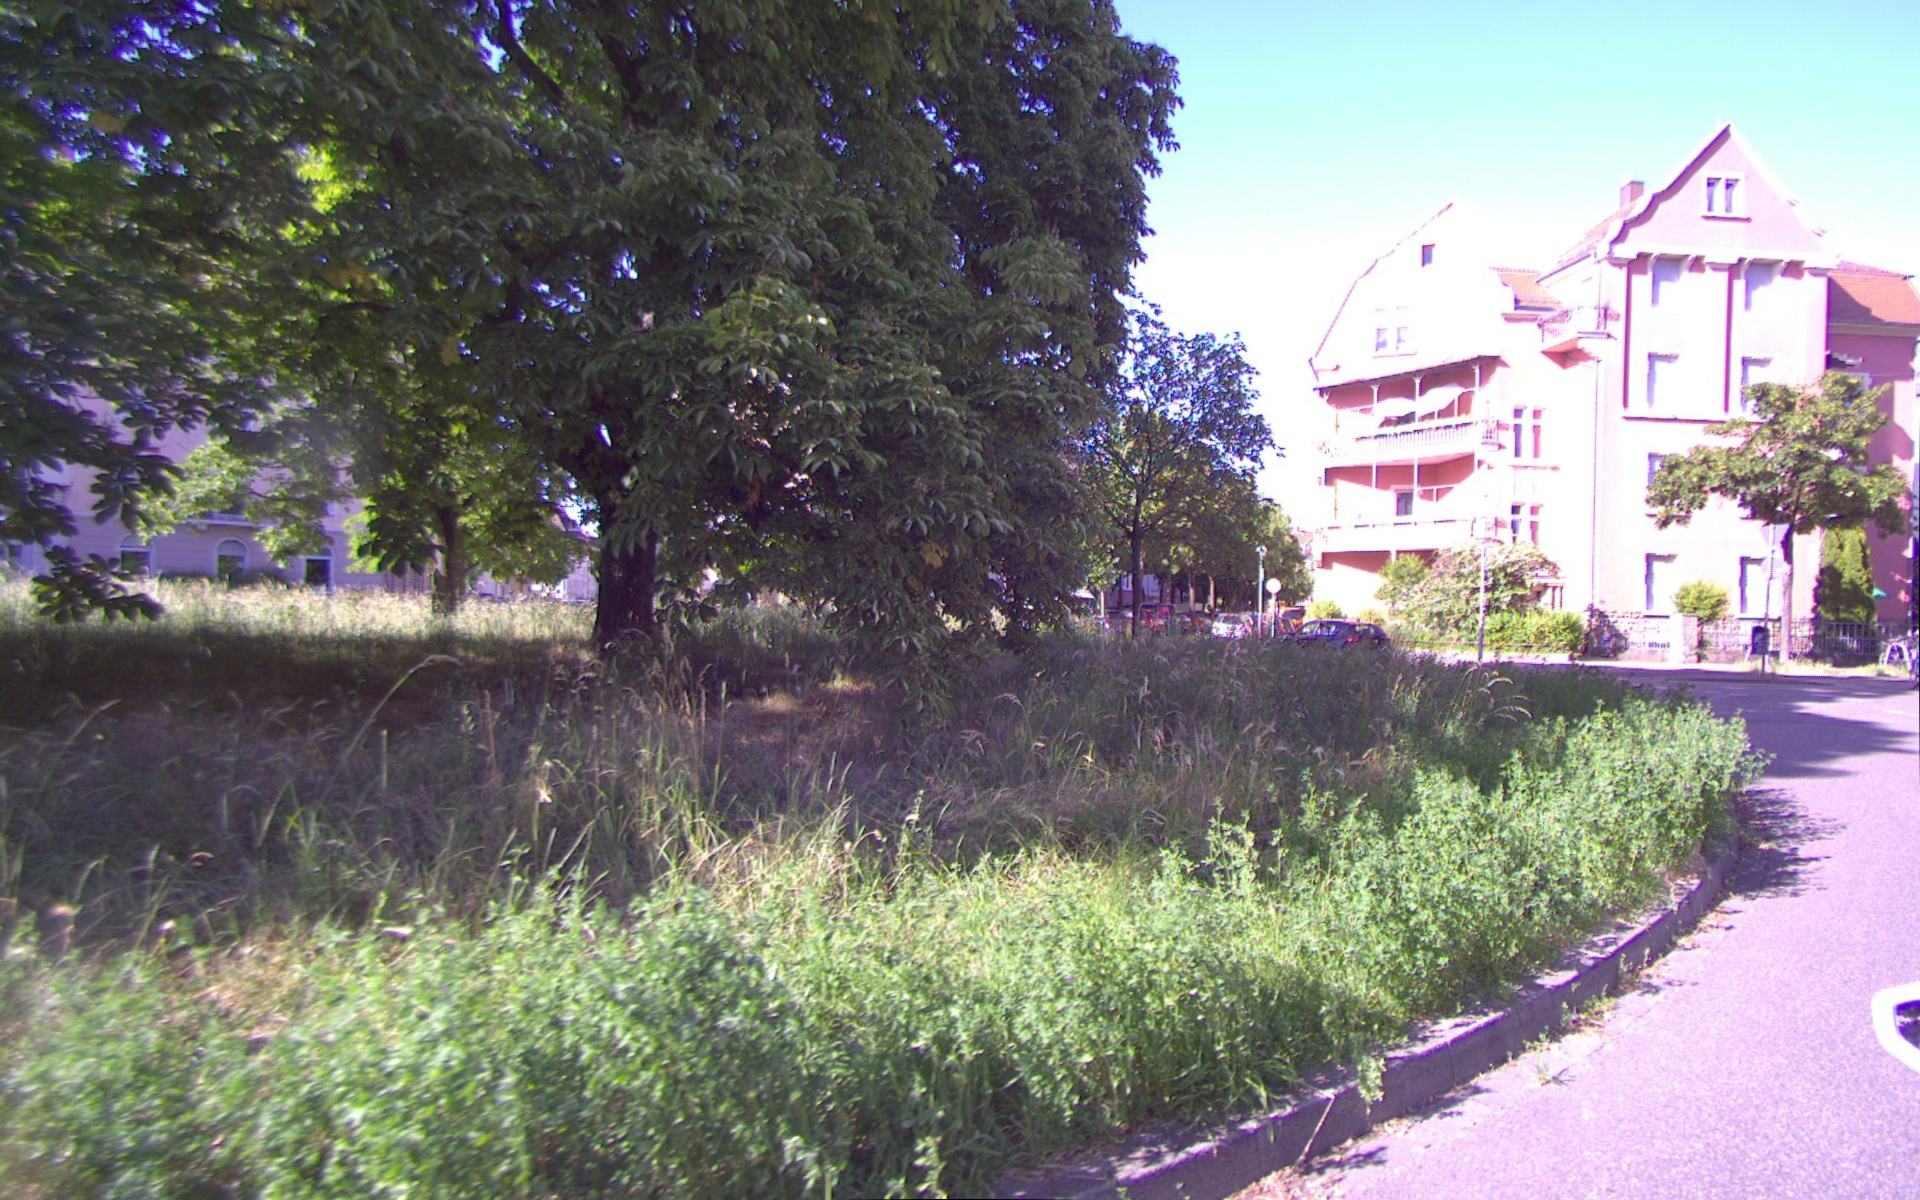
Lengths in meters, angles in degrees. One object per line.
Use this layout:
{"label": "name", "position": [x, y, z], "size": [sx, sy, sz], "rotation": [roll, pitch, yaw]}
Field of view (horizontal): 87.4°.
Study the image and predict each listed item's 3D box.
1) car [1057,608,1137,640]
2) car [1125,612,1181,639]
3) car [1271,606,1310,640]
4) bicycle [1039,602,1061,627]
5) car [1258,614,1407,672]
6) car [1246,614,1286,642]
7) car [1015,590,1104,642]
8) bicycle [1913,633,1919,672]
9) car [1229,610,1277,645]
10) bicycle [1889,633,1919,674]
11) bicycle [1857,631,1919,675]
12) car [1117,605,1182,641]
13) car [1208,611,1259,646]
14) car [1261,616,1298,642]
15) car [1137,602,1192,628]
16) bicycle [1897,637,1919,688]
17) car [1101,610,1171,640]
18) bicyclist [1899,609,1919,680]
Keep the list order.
{"label": "car", "position": [6.924, 1.206, 51.020], "size": [1.674, 1.466, 3.876], "rotation": [2, 0, -40]}
{"label": "car", "position": [11.874, 1.547, 61.974], "size": [1.666, 1.489, 3.360], "rotation": [2, 0, -27]}
{"label": "car", "position": [21.800, 1.502, 66.118], "size": [1.905, 2.071, 4.272], "rotation": [2, 0, 25]}
{"label": "bicycle", "position": [4.199, 0.671, 46.848], "size": [0.411, 1.104, 1.571], "rotation": [2, 1, 28]}
{"label": "car", "position": [10.205, 1.147, 27.845], "size": [1.841, 1.438, 3.986], "rotation": [1, 0, -17]}
{"label": "car", "position": [16.713, 1.519, 54.794], "size": [1.656, 1.400, 3.279], "rotation": [2, 0, 25]}
{"label": "car", "position": [5.557, 0.847, 56.953], "size": [2.075, 2.635, 6.338], "rotation": [2, 0, -24]}
{"label": "bicycle", "position": [28.590, 1.571, 28.776], "size": [0.493, 1.122, 1.822], "rotation": [1, 1, -18]}
{"label": "car", "position": [14.757, 1.358, 50.380], "size": [1.656, 1.583, 4.292], "rotation": [2, 0, 25]}
{"label": "bicycle", "position": [27.733, 1.552, 28.778], "size": [0.535, 1.130, 1.726], "rotation": [1, 1, -3]}
{"label": "bicycle", "position": [26.774, 1.512, 28.755], "size": [0.535, 1.130, 1.726], "rotation": [1, 1, -3]}
{"label": "car", "position": [10.789, 1.294, 57.372], "size": [1.672, 1.890, 3.349], "rotation": [2, 0, -36]}
{"label": "car", "position": [12.479, 1.264, 45.728], "size": [1.656, 1.466, 3.543], "rotation": [2, 0, 25]}
{"label": "car", "position": [18.904, 1.692, 59.410], "size": [1.656, 1.400, 3.279], "rotation": [2, 0, 25]}
{"label": "car", "position": [12.966, 0.923, 63.862], "size": [1.666, 1.489, 3.360], "rotation": [2, 0, -27]}
{"label": "bicycle", "position": [21.958, 1.423, 23.031], "size": [1.850, 1.122, 0.588], "rotation": [2, -2, -43]}
{"label": "car", "position": [9.661, 1.392, 55.240], "size": [3.332, 1.466, 1.681], "rotation": [2, 0, 39]}
{"label": "bicyclist", "position": [21.977, 1.018, 23.049], "size": [0.799, 1.602, 0.588], "rotation": [2, -1, -43]}
